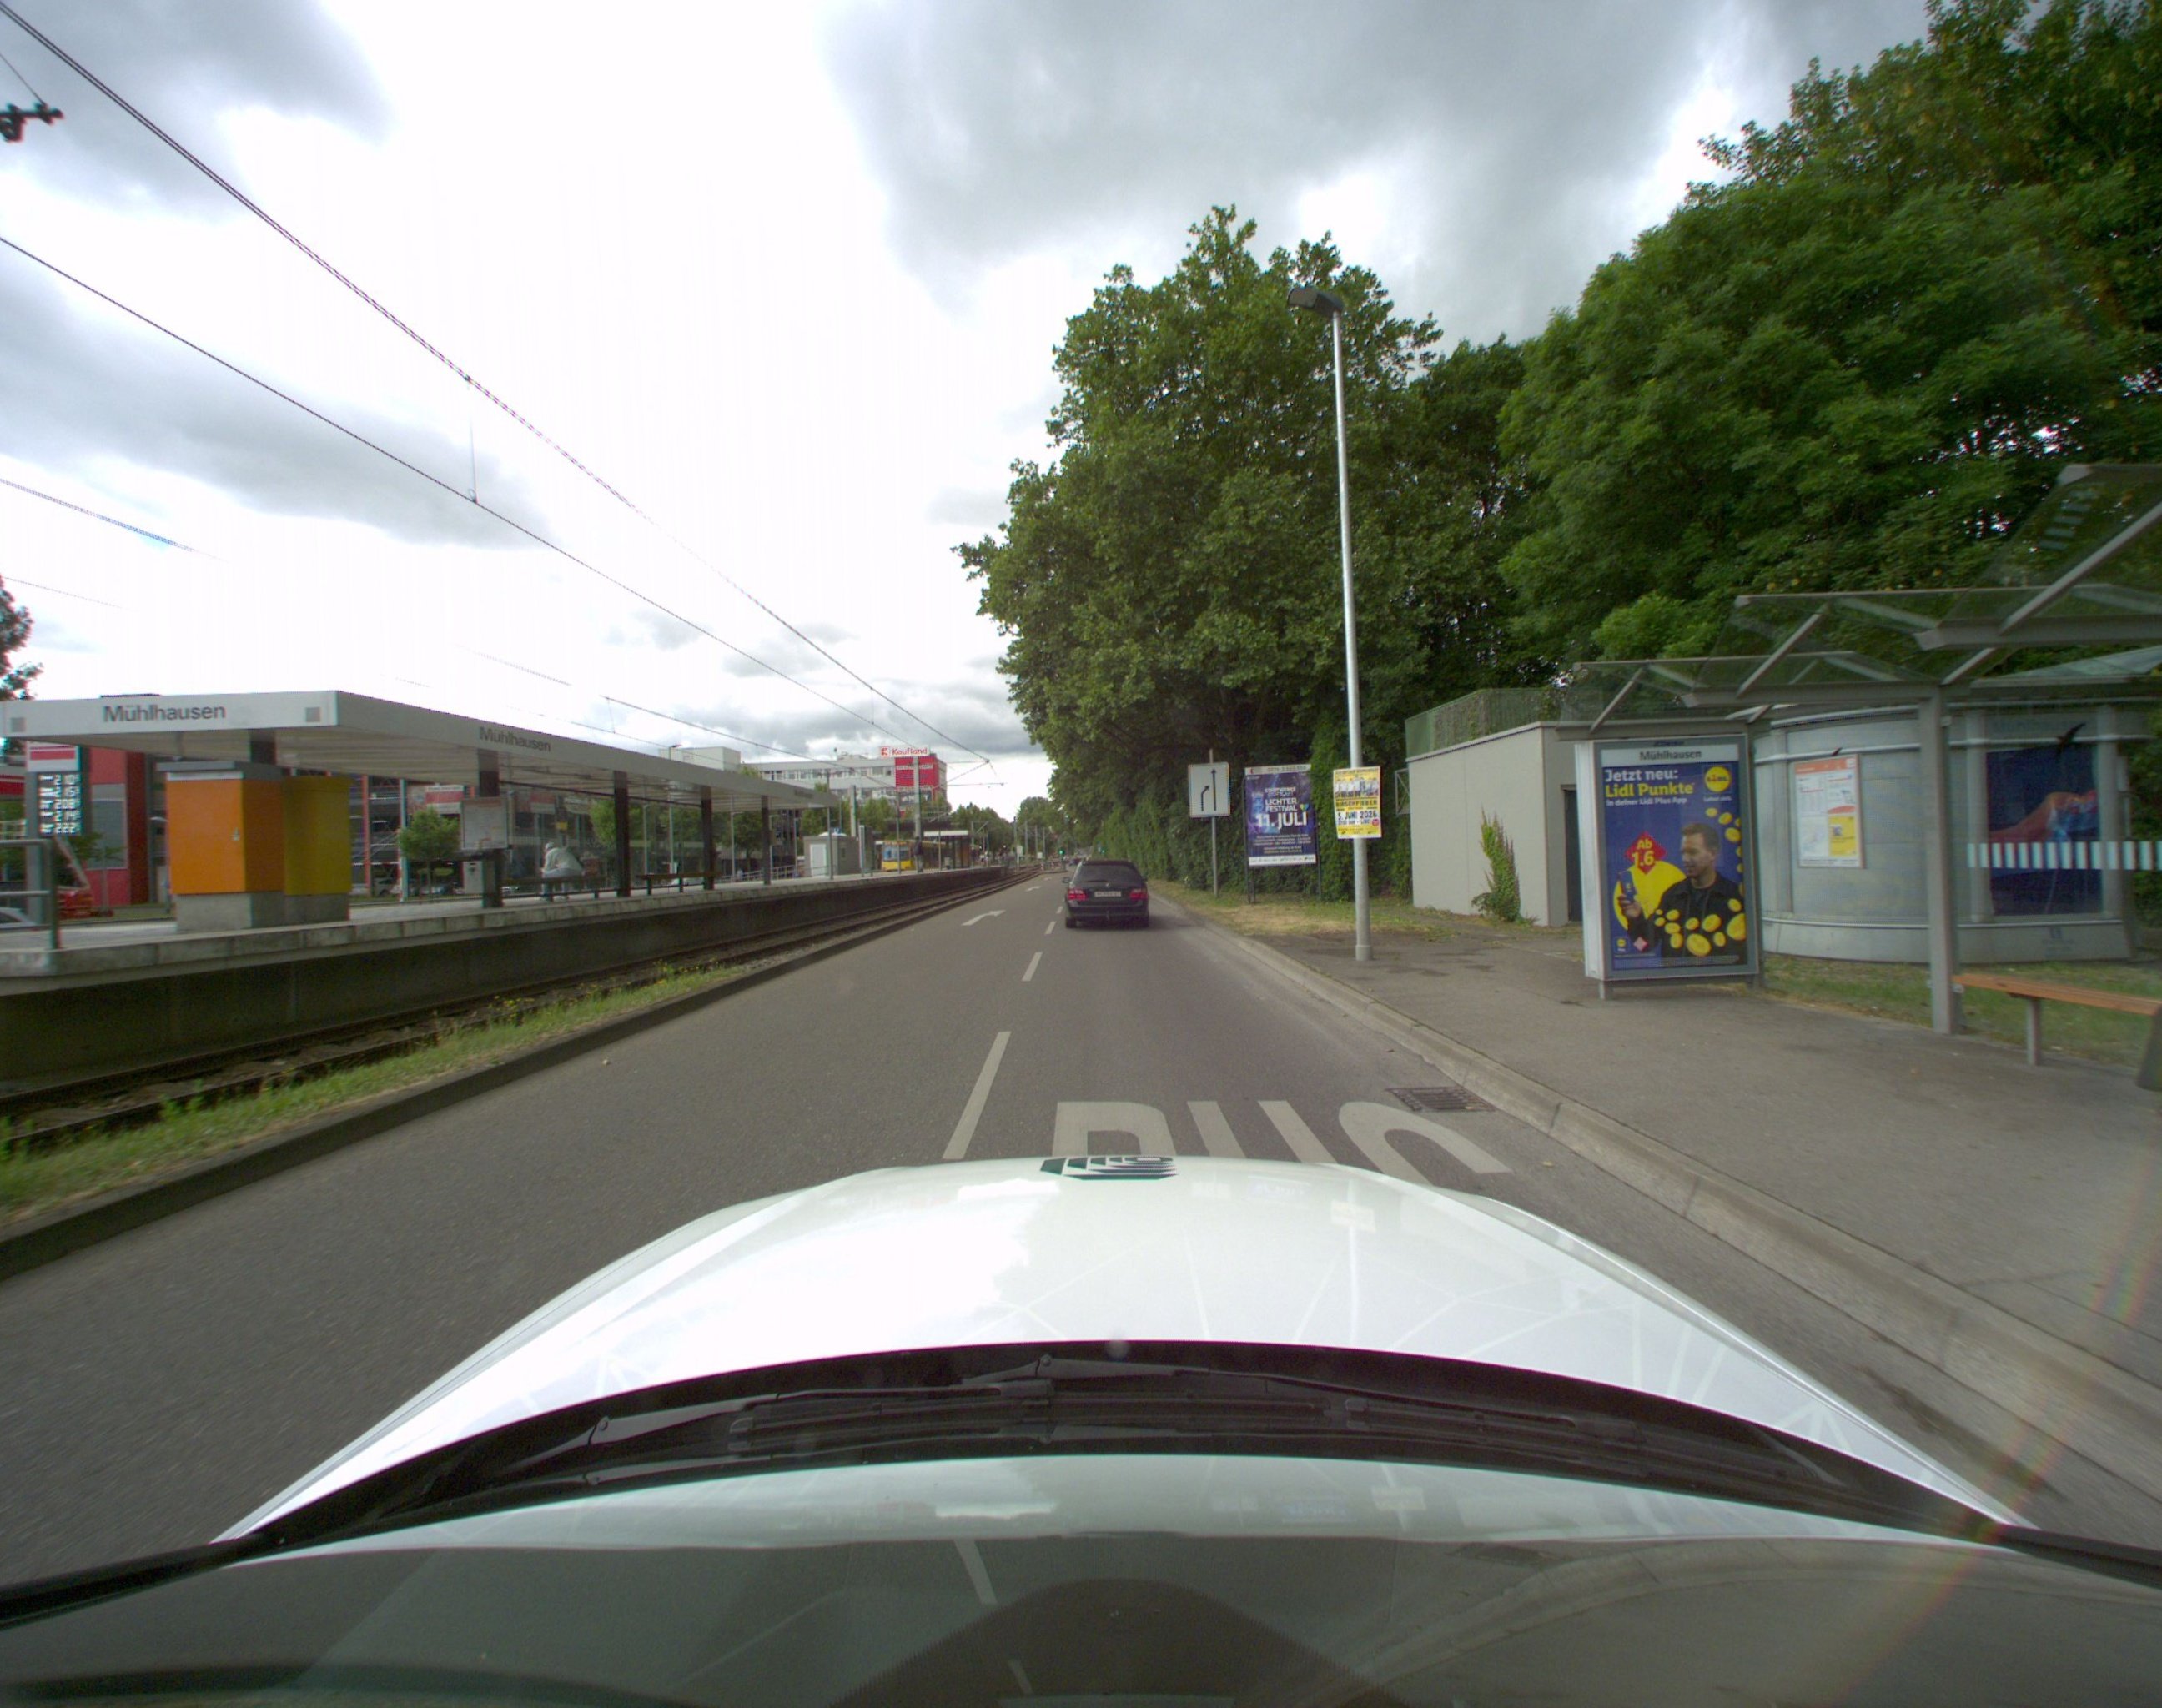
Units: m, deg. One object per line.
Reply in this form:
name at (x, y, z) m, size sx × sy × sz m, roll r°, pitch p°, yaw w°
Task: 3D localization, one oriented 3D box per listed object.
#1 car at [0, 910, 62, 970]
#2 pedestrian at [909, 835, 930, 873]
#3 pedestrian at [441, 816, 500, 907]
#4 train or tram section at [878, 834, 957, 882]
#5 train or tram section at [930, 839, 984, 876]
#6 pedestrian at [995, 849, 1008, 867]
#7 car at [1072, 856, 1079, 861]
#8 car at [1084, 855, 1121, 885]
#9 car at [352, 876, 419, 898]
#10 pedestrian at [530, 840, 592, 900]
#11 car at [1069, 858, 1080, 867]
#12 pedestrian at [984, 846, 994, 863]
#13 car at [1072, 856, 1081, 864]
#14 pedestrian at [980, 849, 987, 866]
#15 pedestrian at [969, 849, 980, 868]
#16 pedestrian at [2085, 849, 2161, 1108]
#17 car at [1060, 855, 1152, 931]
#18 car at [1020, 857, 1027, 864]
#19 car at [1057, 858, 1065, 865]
car at (-26.366, 2.087, 18.369) m, size 1.607 × 1.350 × 4.031 m, roll -2°, pitch 0°, yaw 1°
pedestrian at (-7.690, 0.009, 38.783) m, size 0.746 × 1.744 × 0.937 m, roll -3°, pitch -1°, yaw 0°
pedestrian at (-11.266, 0.134, 15.054) m, size 0.568 × 1.620 × 0.586 m, roll -3°, pitch -1°, yaw 0°
train or tram section at (-14.992, 0.351, 76.912) m, size 2.745 × 3.882 × 18.642 m, roll -3°, pitch 0°, yaw 2°
train or tram section at (-14.263, 0.431, 95.579) m, size 2.746 × 3.829 × 18.639 m, roll -2°, pitch 0°, yaw 2°
pedestrian at (-7.734, 0.344, 79.136) m, size 0.736 × 1.678 × 0.881 m, roll -4°, pitch -1°, yaw 44°
car at (-1.617, 1.426, 250.511) m, size 1.818 × 1.530 × 3.988 m, roll -1°, pitch 0°, yaw 2°
car at (1.096, 0.818, 43.746) m, size 1.819 × 1.530 × 4.414 m, roll -1°, pitch 0°, yaw 0°
car at (-50.545, 2.389, 59.260) m, size 1.710 × 1.415 × 3.561 m, roll -3°, pitch -1°, yaw 1°
pedestrian at (-10.775, 0.334, 16.888) m, size 0.766 × 1.189 × 0.729 m, roll -2°, pitch -1°, yaw 4°
car at (-1.172, 1.555, 152.029) m, size 1.818 × 1.530 × 4.417 m, roll -2°, pitch 0°, yaw 2°
pedestrian at (-8.243, 0.004, 72.767) m, size 0.514 × 1.482 × 0.585 m, roll -4°, pitch -1°, yaw 38°
car at (-0.986, 1.301, 175.952) m, size 1.818 × 1.530 × 3.929 m, roll -1°, pitch 0°, yaw 2°
pedestrian at (-8.825, 0.287, 73.696) m, size 0.472 × 1.483 × 0.544 m, roll -3°, pitch -1°, yaw 11°
pedestrian at (-9.412, 0.388, 71.979) m, size 0.769 × 1.678 × 0.790 m, roll -3°, pitch -1°, yaw 0°
pedestrian at (5.180, 0.558, 3.657) m, size 0.599 × 1.158 × 0.547 m, roll -3°, pitch 0°, yaw 0°
car at (0.462, 0.774, 18.562) m, size 1.828 × 1.478 × 4.413 m, roll -1°, pitch 0°, yaw -1°
car at (-18.505, 2.089, 261.151) m, size 1.987 × 2.013 × 3.999 m, roll -3°, pitch -1°, yaw 0°
car at (-5.062, 1.881, 206.643) m, size 1.818 × 1.530 × 3.929 m, roll -1°, pitch 0°, yaw 2°
